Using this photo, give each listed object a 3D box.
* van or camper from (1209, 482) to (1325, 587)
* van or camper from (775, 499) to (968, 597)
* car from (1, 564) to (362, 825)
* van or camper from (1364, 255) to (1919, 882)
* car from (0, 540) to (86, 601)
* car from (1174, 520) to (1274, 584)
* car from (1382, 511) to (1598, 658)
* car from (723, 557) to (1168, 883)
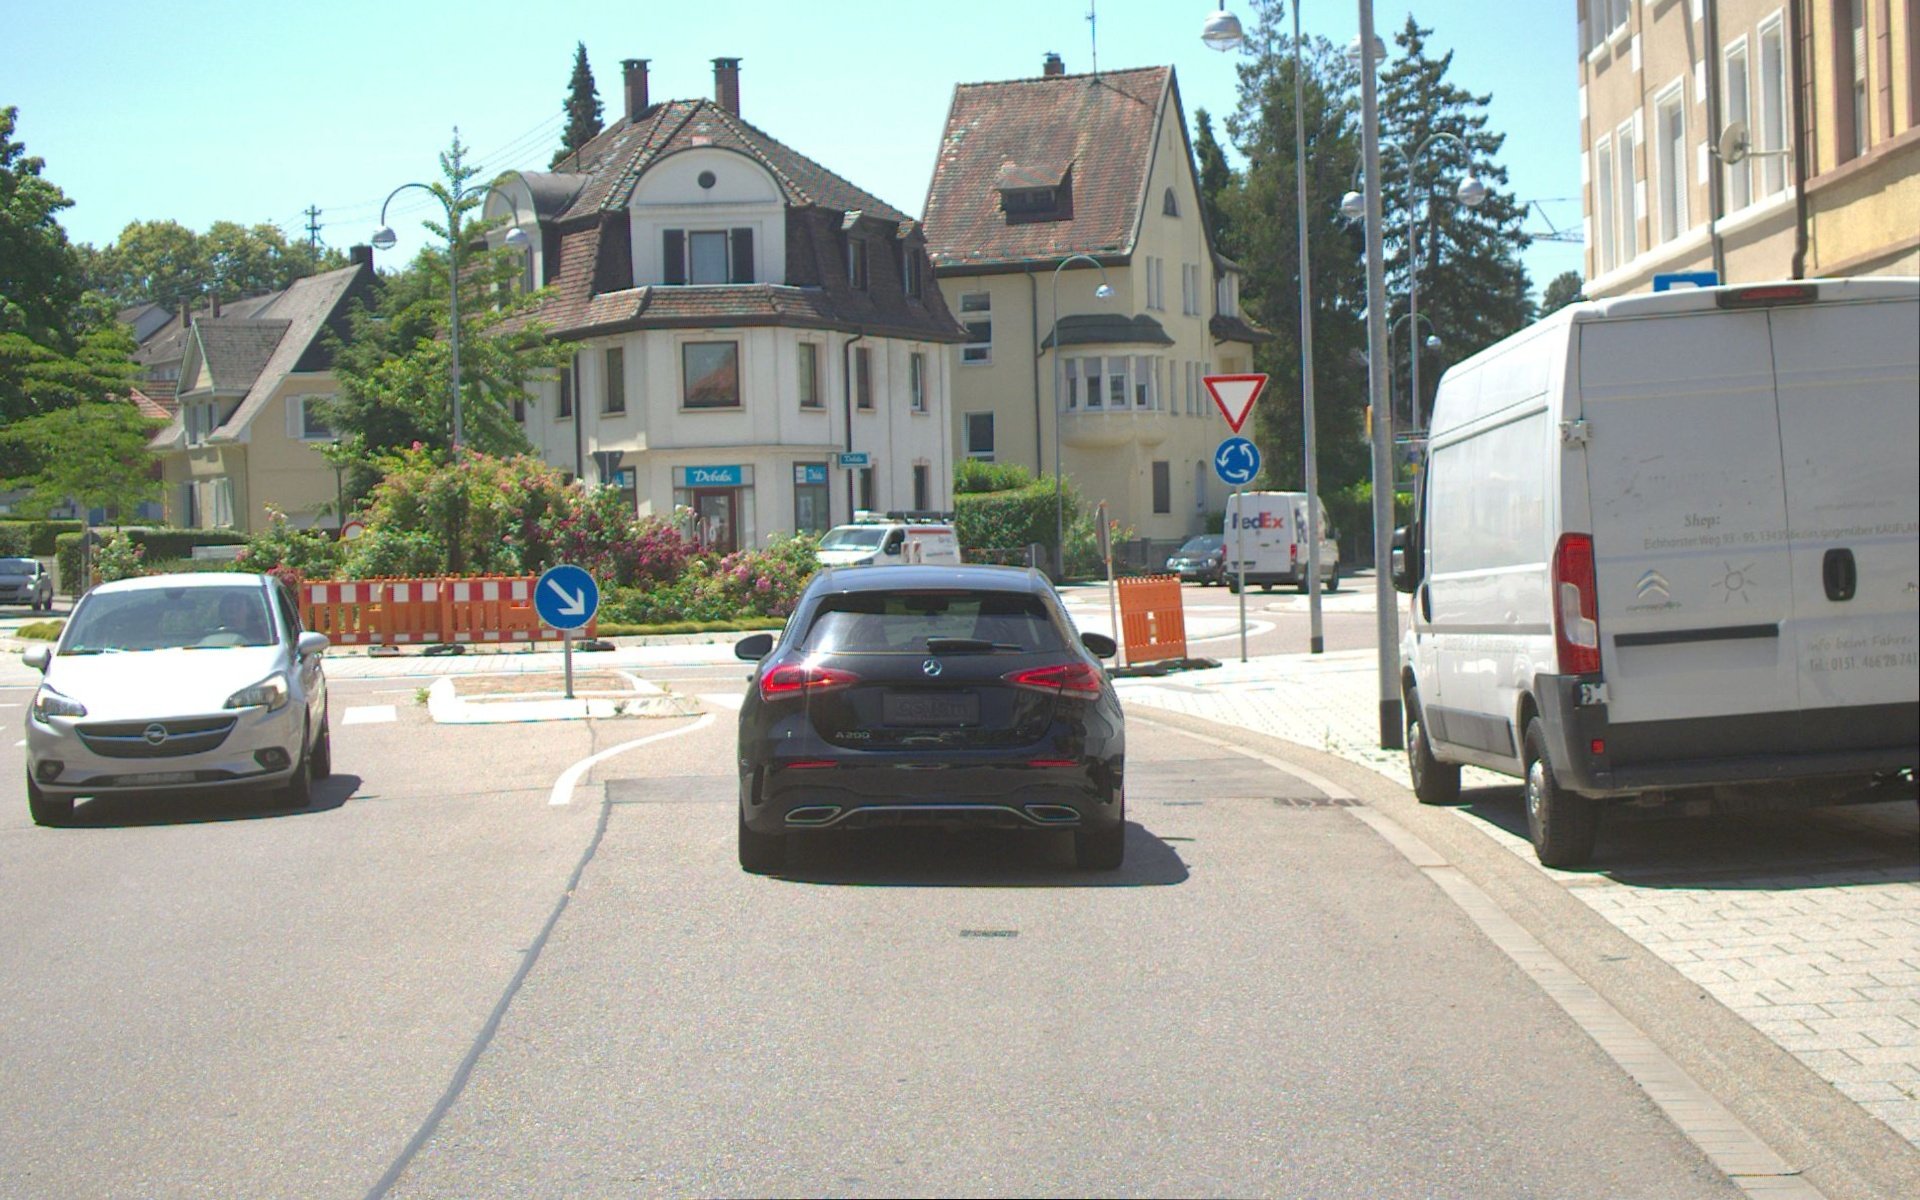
[{"bbox_3d":[7.903,-1.686,88.246,2.207,2.601,3.997,0,1,16],"label":"van or camper"},{"bbox_3d":[-1.971,-1.168,78.763,1.997,2.164,5.404,0,1,28],"label":"van or camper"},{"bbox_3d":[-4.962,0.543,22.351,1.659,1.491,3.760,-2,1,-3],"label":"car"},{"bbox_3d":[3.541,-0.187,17.398,2.165,2.580,5.766,-2,1,0],"label":"van or camper"},{"bbox_3d":[-26.491,-0.816,97.688,1.785,1.592,3.919,-1,-1,9],"label":"car"},{"bbox_3d":[7.501,-1.360,97.282,1.922,1.766,3.997,1,1,18],"label":"car"},{"bbox_3d":[6.048,-0.213,39.707,1.764,1.525,4.690,-2,1,1],"label":"car"},{"bbox_3d":[-0.115,0.519,17.127,1.953,1.422,4.000,0,0,-1],"label":"car"}]
